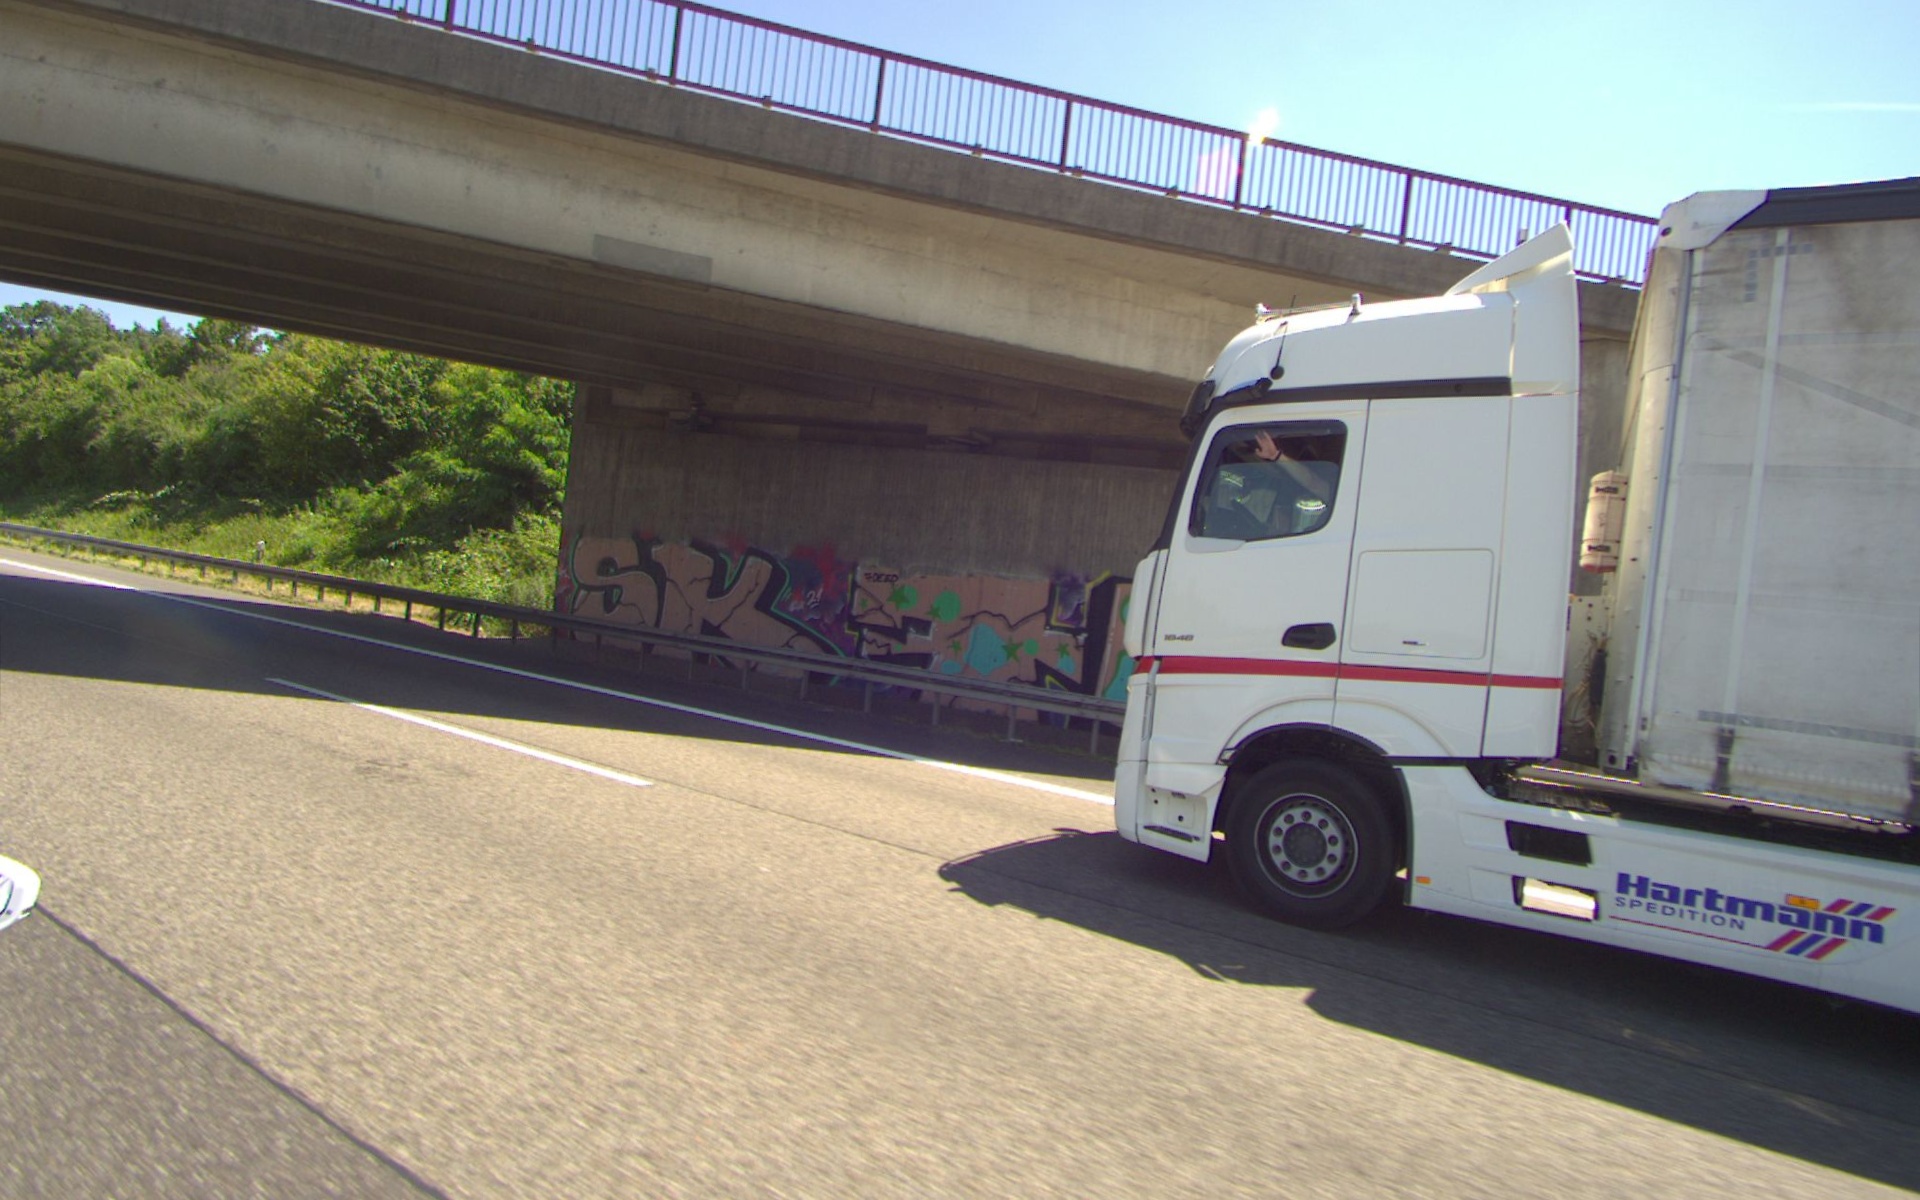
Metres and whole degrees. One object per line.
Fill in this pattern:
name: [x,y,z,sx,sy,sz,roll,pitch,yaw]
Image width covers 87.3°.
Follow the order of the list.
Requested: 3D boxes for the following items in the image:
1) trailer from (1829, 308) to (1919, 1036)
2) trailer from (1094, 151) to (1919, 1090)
trailer: [10.782,0.763,2.068,12.969,4.153,2.732,6,0,31]
trailer: [4.605,0.123,5.836,6.676,4.153,2.717,6,0,31]
